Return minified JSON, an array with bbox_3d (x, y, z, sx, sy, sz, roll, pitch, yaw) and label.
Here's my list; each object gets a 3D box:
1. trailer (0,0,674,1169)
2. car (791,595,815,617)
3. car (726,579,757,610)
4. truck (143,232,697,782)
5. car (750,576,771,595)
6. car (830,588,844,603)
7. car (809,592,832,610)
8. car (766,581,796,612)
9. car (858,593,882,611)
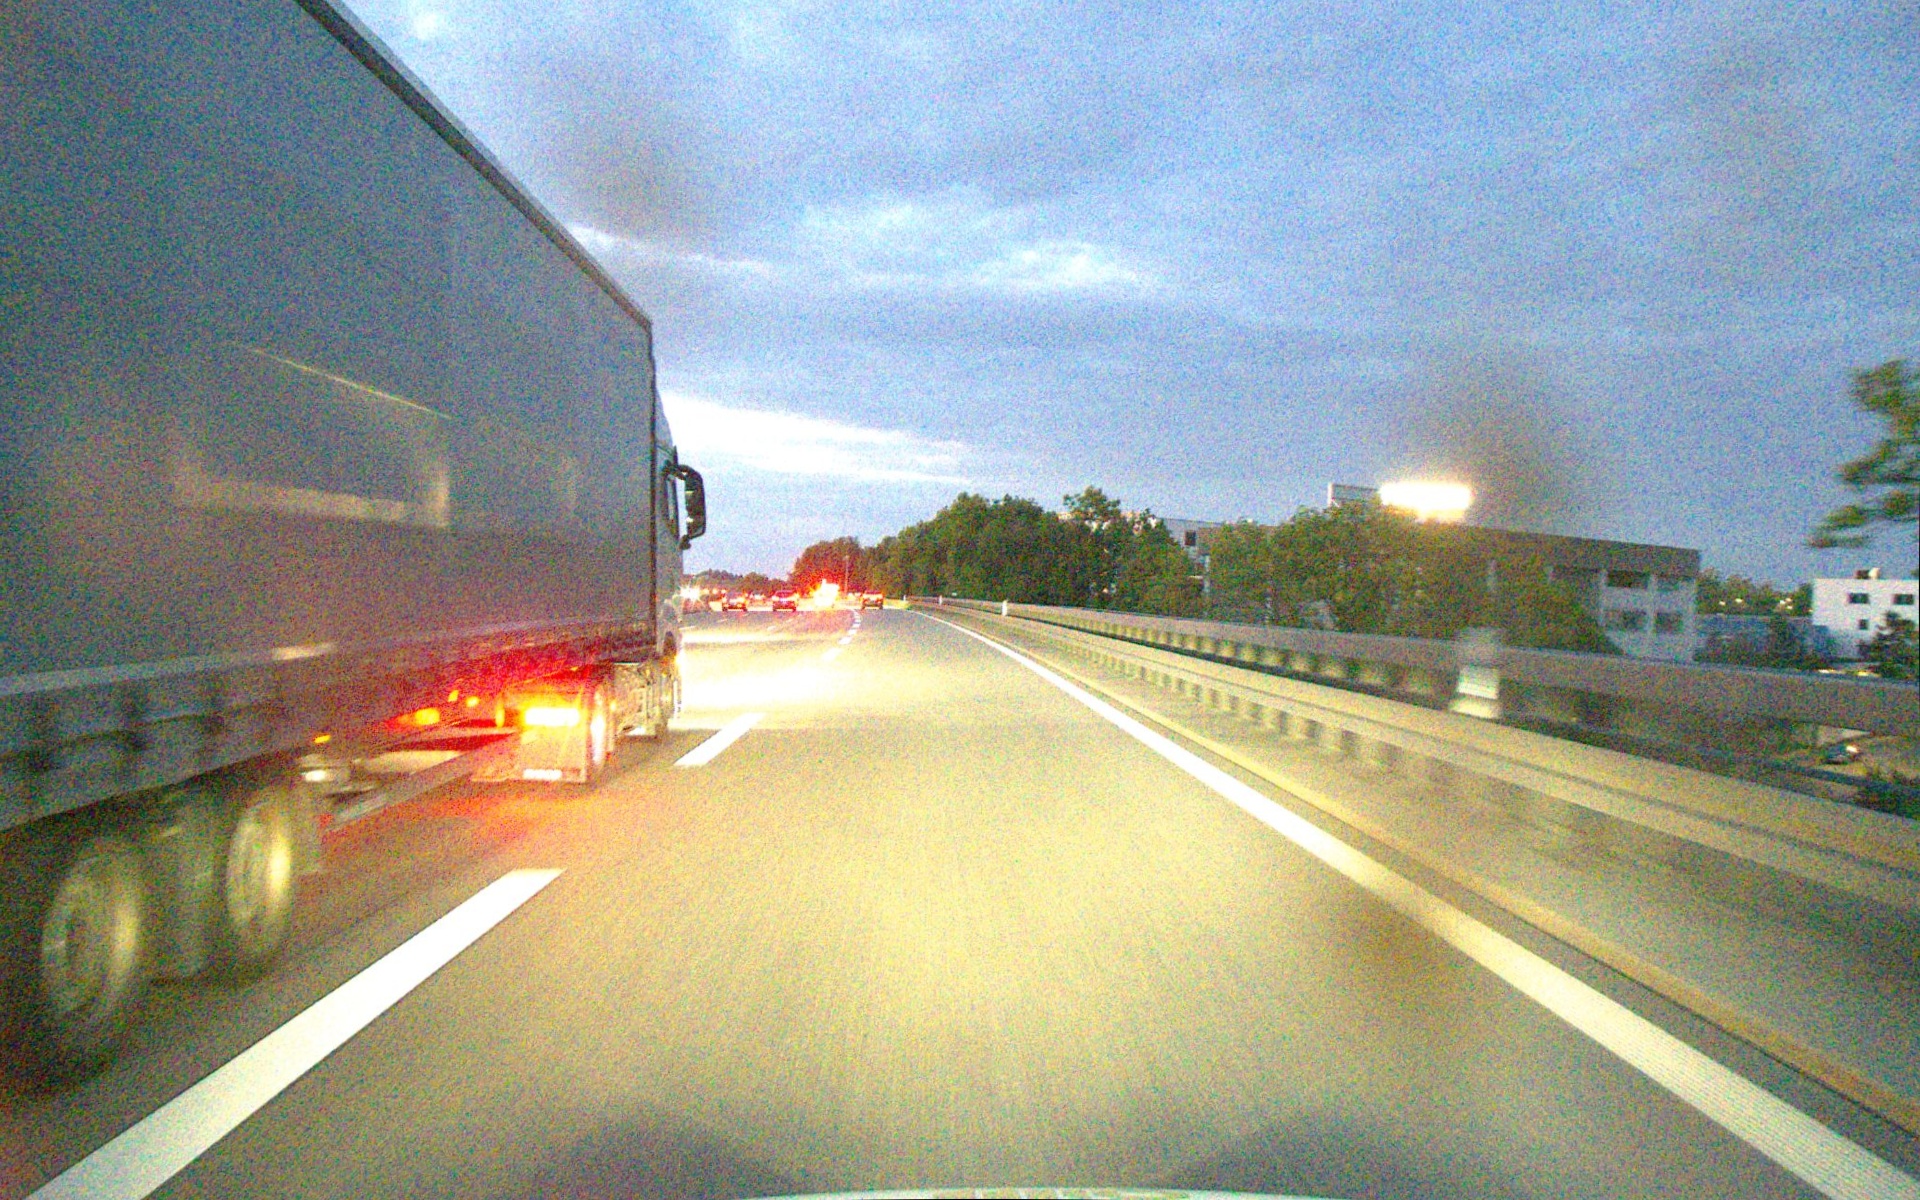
[{"bbox_3d":[-4.310,-0.689,8.678,3.479,4.188,15.057,0,0,-2],"label":"trailer"},{"bbox_3d":[-15.886,0.628,167.163,1.952,2.049,3.999,1,-3,0],"label":"car"},{"bbox_3d":[-16.752,-0.403,126.852,1.954,2.083,3.997,1,-3,-3],"label":"car"},{"bbox_3d":[-4.591,-0.704,15.698,3.480,4.162,6.148,0,0,-3],"label":"truck"},{"bbox_3d":[-23.240,-1.671,192.662,1.953,2.049,3.998,1,-3,-2],"label":"car"},{"bbox_3d":[-18.629,-0.671,250.196,1.954,2.049,3.997,1,-3,-3],"label":"car"},{"bbox_3d":[-12.686,0.078,150.602,1.847,1.378,3.997,1,-3,-3],"label":"car"},{"bbox_3d":[-13.721,-0.261,126.984,1.954,2.116,3.997,1,-3,-3],"label":"car"},{"bbox_3d":[-7.843,0.167,144.396,1.954,1.378,3.997,2,-3,-3],"label":"car"}]
